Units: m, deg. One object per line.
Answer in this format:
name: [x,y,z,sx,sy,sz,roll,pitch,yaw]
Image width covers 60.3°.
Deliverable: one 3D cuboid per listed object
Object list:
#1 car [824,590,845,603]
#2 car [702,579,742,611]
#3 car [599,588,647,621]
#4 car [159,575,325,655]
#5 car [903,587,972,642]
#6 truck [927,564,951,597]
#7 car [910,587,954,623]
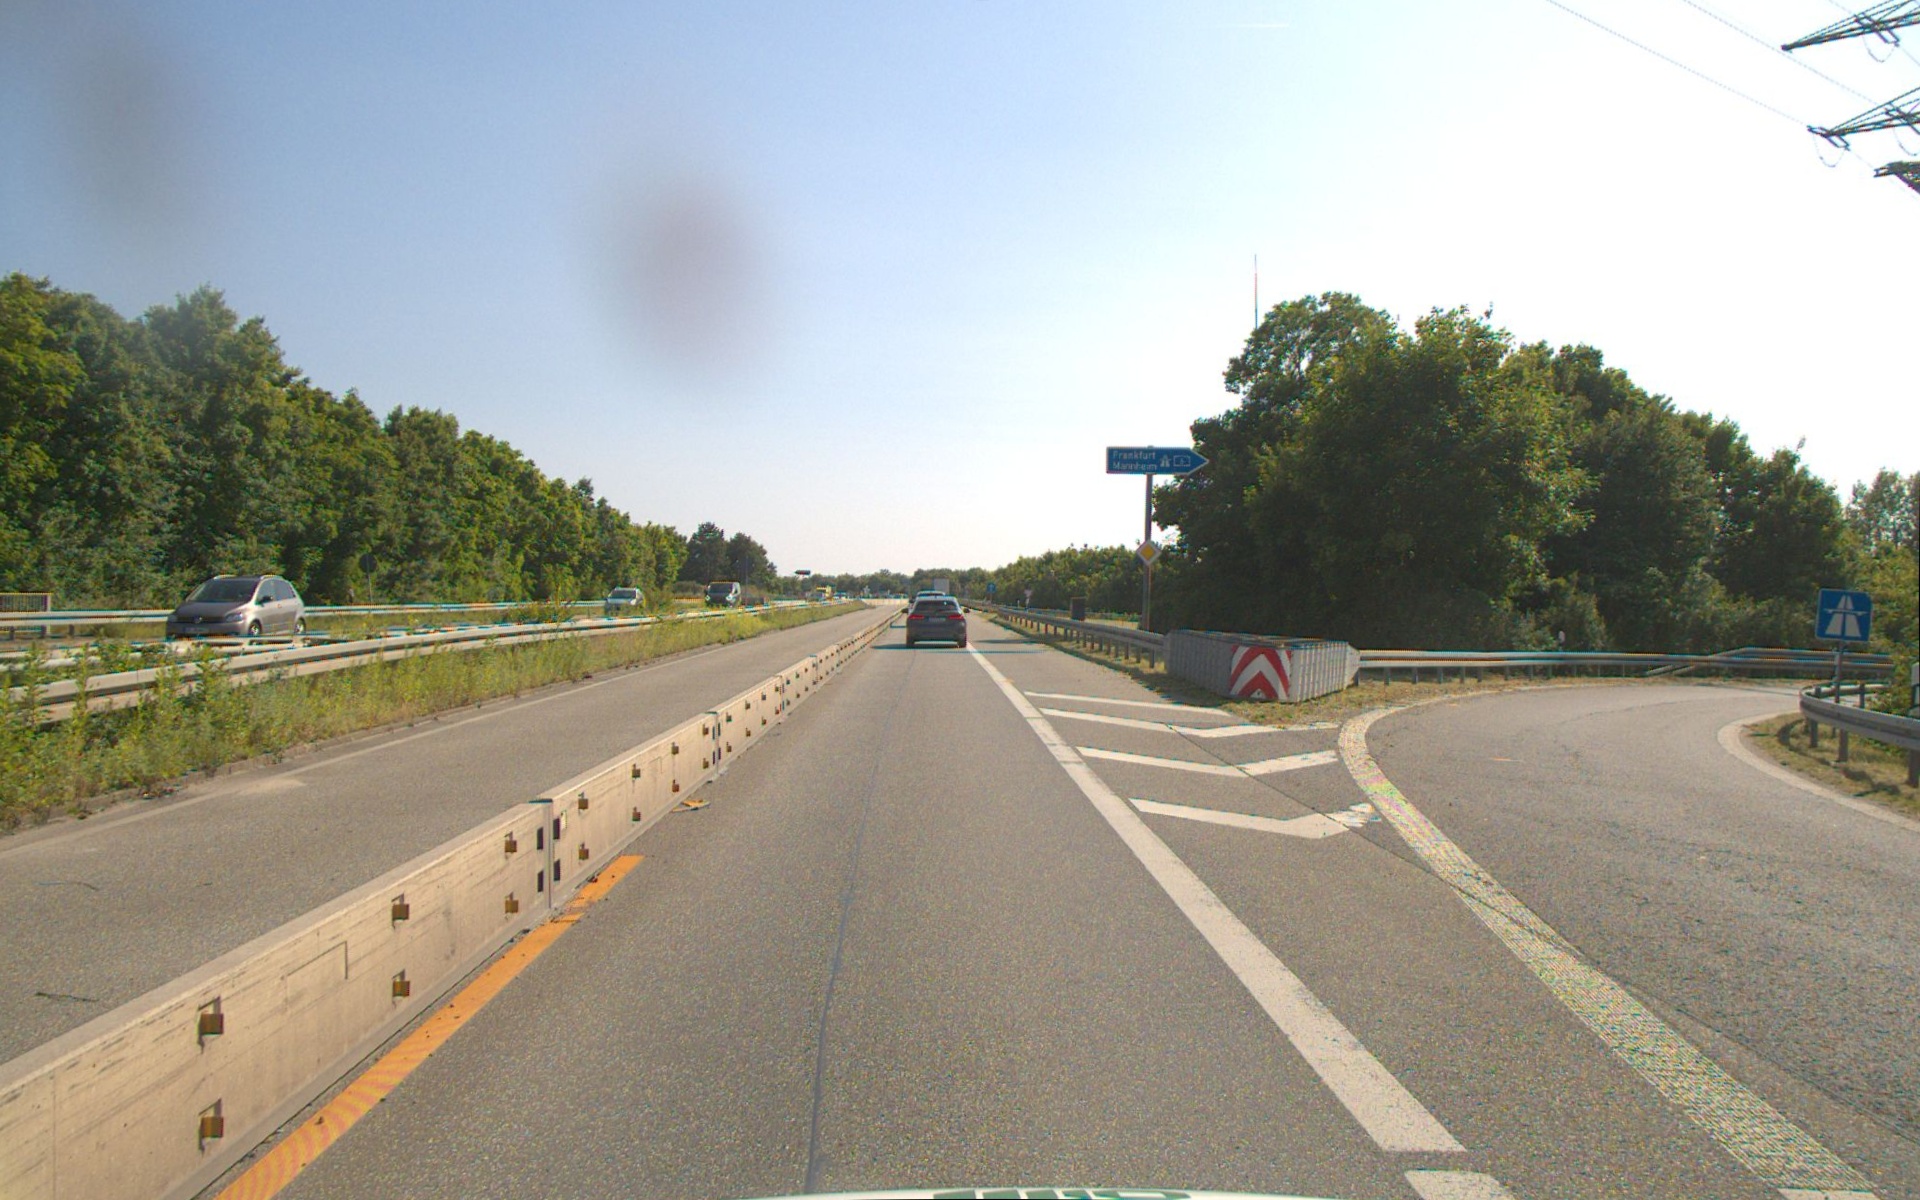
car: [-15.345,-0.456,202.887,1.722,1.496,4.798,1,0,6]
car: [-15.696,-0.332,109.330,1.953,2.070,5.167,0,1,-1]
car: [-16.124,0.194,79.377,1.613,1.558,3.817,0,0,-2]
car: [-15.485,0.289,35.919,1.727,1.610,4.421,-1,0,-1]
car: [-0.700,0.403,48.546,1.882,1.520,3.998,1,0,-3]
truck: [-3.429,-3.068,264.474,3.684,4.997,14.134,1,0,-1]
car: [-1.287,0.206,75.957,1.953,1.594,3.999,1,0,-1]
